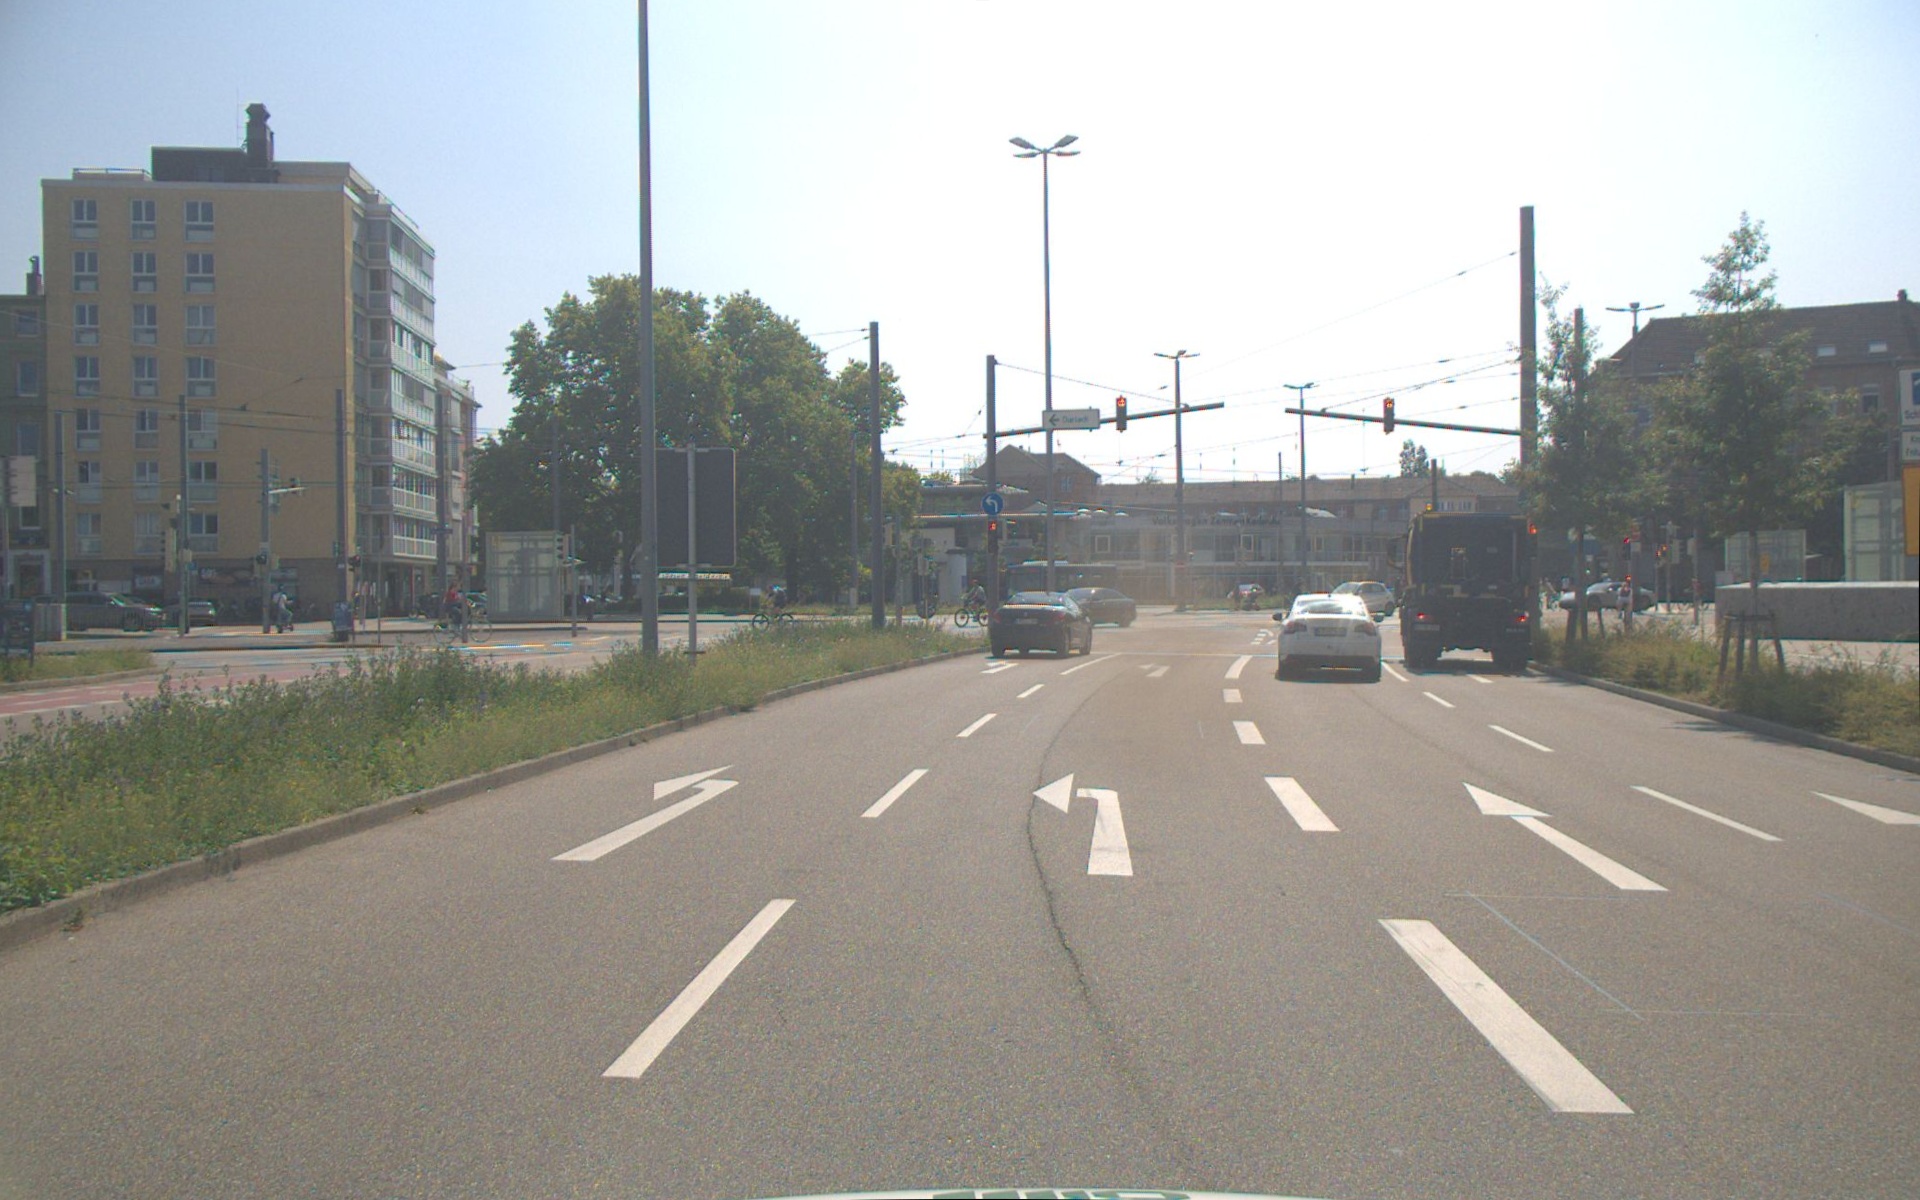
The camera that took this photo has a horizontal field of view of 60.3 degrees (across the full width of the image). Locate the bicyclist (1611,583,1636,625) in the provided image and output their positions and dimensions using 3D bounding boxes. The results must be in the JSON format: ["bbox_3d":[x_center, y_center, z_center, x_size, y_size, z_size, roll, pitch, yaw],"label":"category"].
[{"bbox_3d":[21.299,0.127,53.135,0.660,1.343,0.684,-1,0,16],"label":"bicyclist"}]

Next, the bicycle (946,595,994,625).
[{"bbox_3d":[0.393,0.380,64.476,0.687,1.156,2.029,-1,0,44],"label":"bicycle"}]

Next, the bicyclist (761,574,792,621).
[{"bbox_3d":[-6.618,-0.094,59.778,0.958,1.683,0.658,-1,0,-22],"label":"bicyclist"}]

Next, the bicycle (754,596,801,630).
[{"bbox_3d":[-6.614,0.458,59.776,0.958,1.199,2.813,-1,0,-21],"label":"bicycle"}]

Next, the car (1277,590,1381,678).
[{"bbox_3d":[6.776,0.565,30.394,1.720,1.480,4.429,0,1,13],"label":"car"}]

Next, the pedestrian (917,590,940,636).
[{"bbox_3d":[-0.900,0.365,47.322,0.584,1.290,0.504,-1,2,-7],"label":"pedestrian"}]

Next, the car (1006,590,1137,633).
[{"bbox_3d":[4.128,0.409,61.105,4.497,1.463,1.982,-1,0,-28],"label":"car"}]

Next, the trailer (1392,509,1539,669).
[{"bbox_3d":[10.588,-0.250,35.164,2.410,3.060,6.331,1,1,12],"label":"trailer"}]

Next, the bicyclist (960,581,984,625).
[{"bbox_3d":[0.459,0.118,64.532,0.615,1.678,0.681,-1,1,-45],"label":"bicyclist"}]

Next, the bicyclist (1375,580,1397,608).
[{"bbox_3d":[23.496,-0.338,91.182,0.886,1.527,0.863,-1,0,-8],"label":"bicyclist"}]

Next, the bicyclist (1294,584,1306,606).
[{"bbox_3d":[18.268,-0.264,88.855,0.493,1.209,0.506,-1,0,27],"label":"bicyclist"}]

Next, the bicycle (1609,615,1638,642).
[{"bbox_3d":[21.340,0.905,53.235,0.660,0.790,2.129,-1,0,16],"label":"bicycle"}]

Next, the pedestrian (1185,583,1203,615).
[{"bbox_3d":[13.120,-0.068,92.840,0.768,1.782,0.808,-1,0,26],"label":"pedestrian"}]

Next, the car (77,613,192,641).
[{"bbox_3d":[-33.200,1.077,66.591,3.813,1.004,1.711,-1,0,-12],"label":"car"}]

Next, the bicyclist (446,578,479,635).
[{"bbox_3d":[-14.682,0.199,48.801,0.822,1.671,0.606,0,-1,-6],"label":"bicyclist"}]

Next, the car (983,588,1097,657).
[{"bbox_3d":[1.823,0.452,36.505,1.720,1.429,3.984,0,1,15],"label":"car"}]

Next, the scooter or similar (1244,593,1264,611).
[{"bbox_3d":[16.638,0.117,93.511,0.826,0.991,0.785,-1,0,-28],"label":"scooter or similar"}]

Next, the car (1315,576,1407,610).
[{"bbox_3d":[18.083,-0.320,74.544,4.015,1.450,1.756,-1,0,-33],"label":"car"}]

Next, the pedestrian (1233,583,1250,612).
[{"bbox_3d":[15.827,-0.130,93.068,0.627,1.588,0.741,-1,0,-26],"label":"pedestrian"}]

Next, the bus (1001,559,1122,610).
[{"bbox_3d":[6.441,-0.958,102.442,2.994,2.982,11.839,-1,0,27],"label":"bus"}]

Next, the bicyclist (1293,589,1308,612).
[{"bbox_3d":[18.608,0.026,90.388,0.584,1.269,0.505,-1,0,-15],"label":"bicyclist"}]

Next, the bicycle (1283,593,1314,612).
[{"bbox_3d":[18.197,0.134,88.889,1.560,1.002,0.506,0,0,28],"label":"bicycle"}]

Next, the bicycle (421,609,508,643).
[{"bbox_3d":[-14.609,0.768,48.798,2.363,0.970,0.603,-1,0,-7],"label":"bicycle"}]

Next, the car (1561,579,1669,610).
[{"bbox_3d":[31.863,-0.285,80.530,4.482,1.424,1.944,-1,0,-5],"label":"car"}]
